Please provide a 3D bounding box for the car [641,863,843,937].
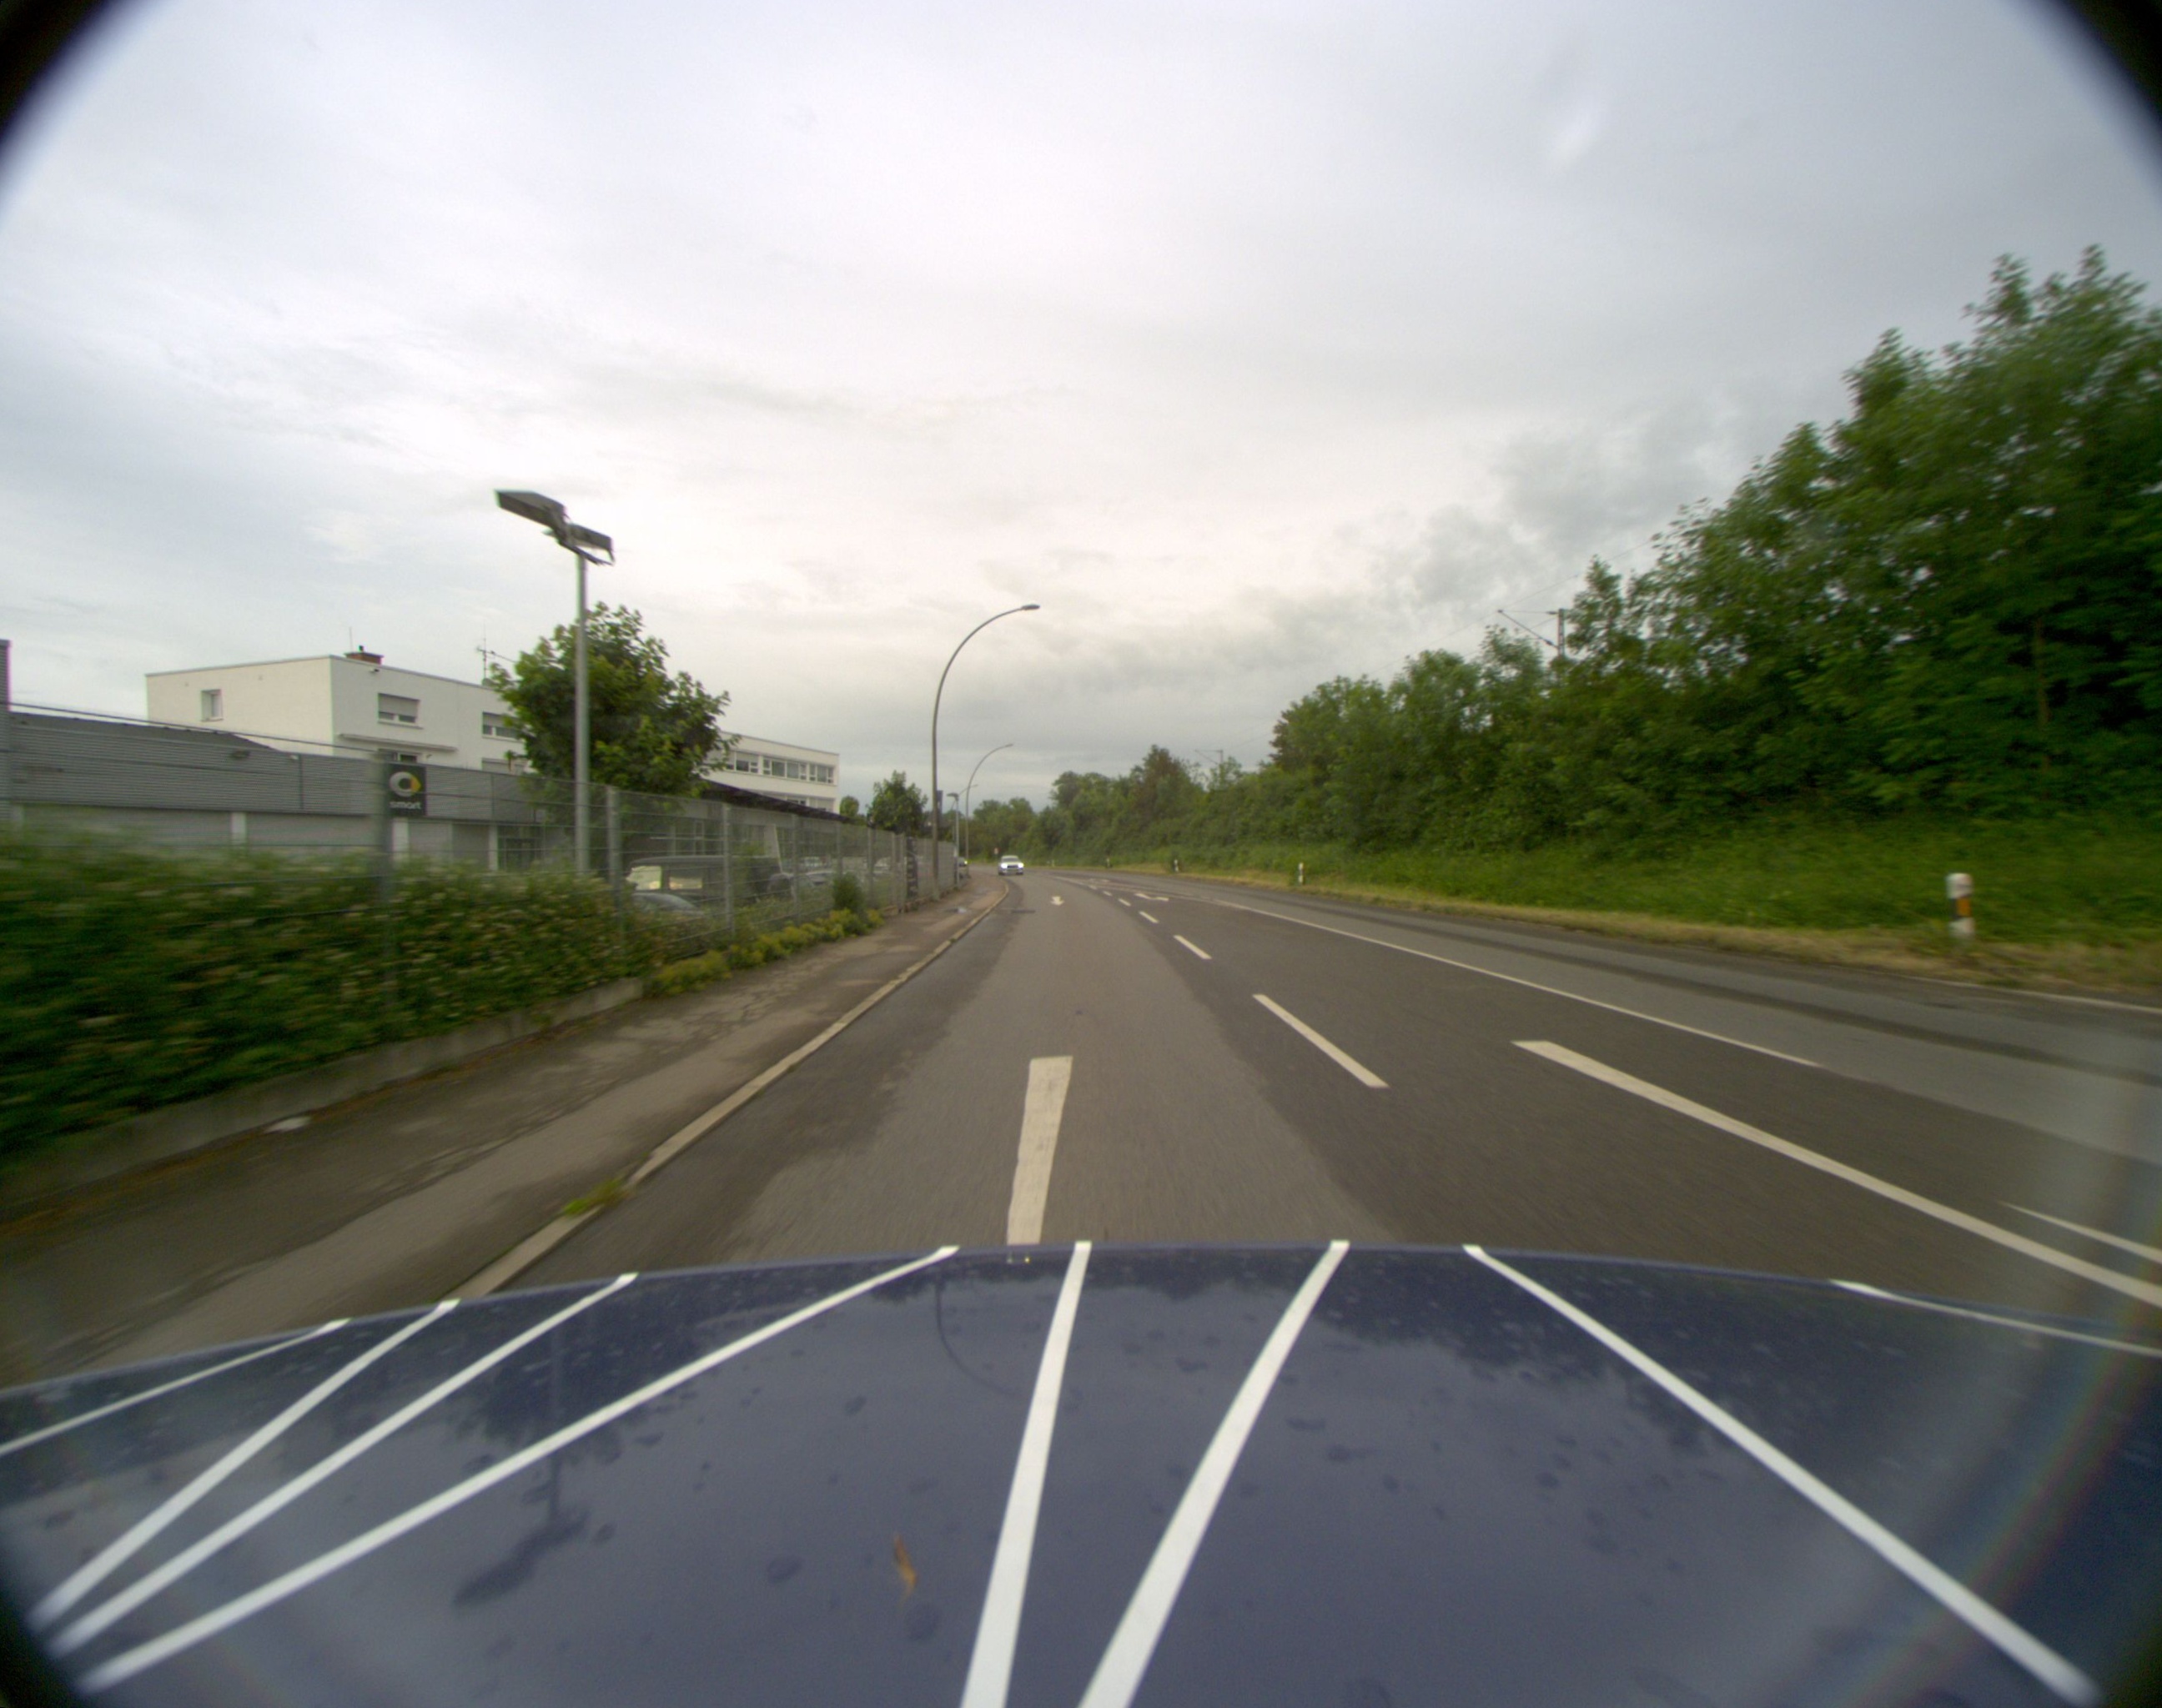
[{"bbox_3d":[-8.132,1.085,18.474,3.996,1.396,1.789,-4,2,3],"label":"car"}]
